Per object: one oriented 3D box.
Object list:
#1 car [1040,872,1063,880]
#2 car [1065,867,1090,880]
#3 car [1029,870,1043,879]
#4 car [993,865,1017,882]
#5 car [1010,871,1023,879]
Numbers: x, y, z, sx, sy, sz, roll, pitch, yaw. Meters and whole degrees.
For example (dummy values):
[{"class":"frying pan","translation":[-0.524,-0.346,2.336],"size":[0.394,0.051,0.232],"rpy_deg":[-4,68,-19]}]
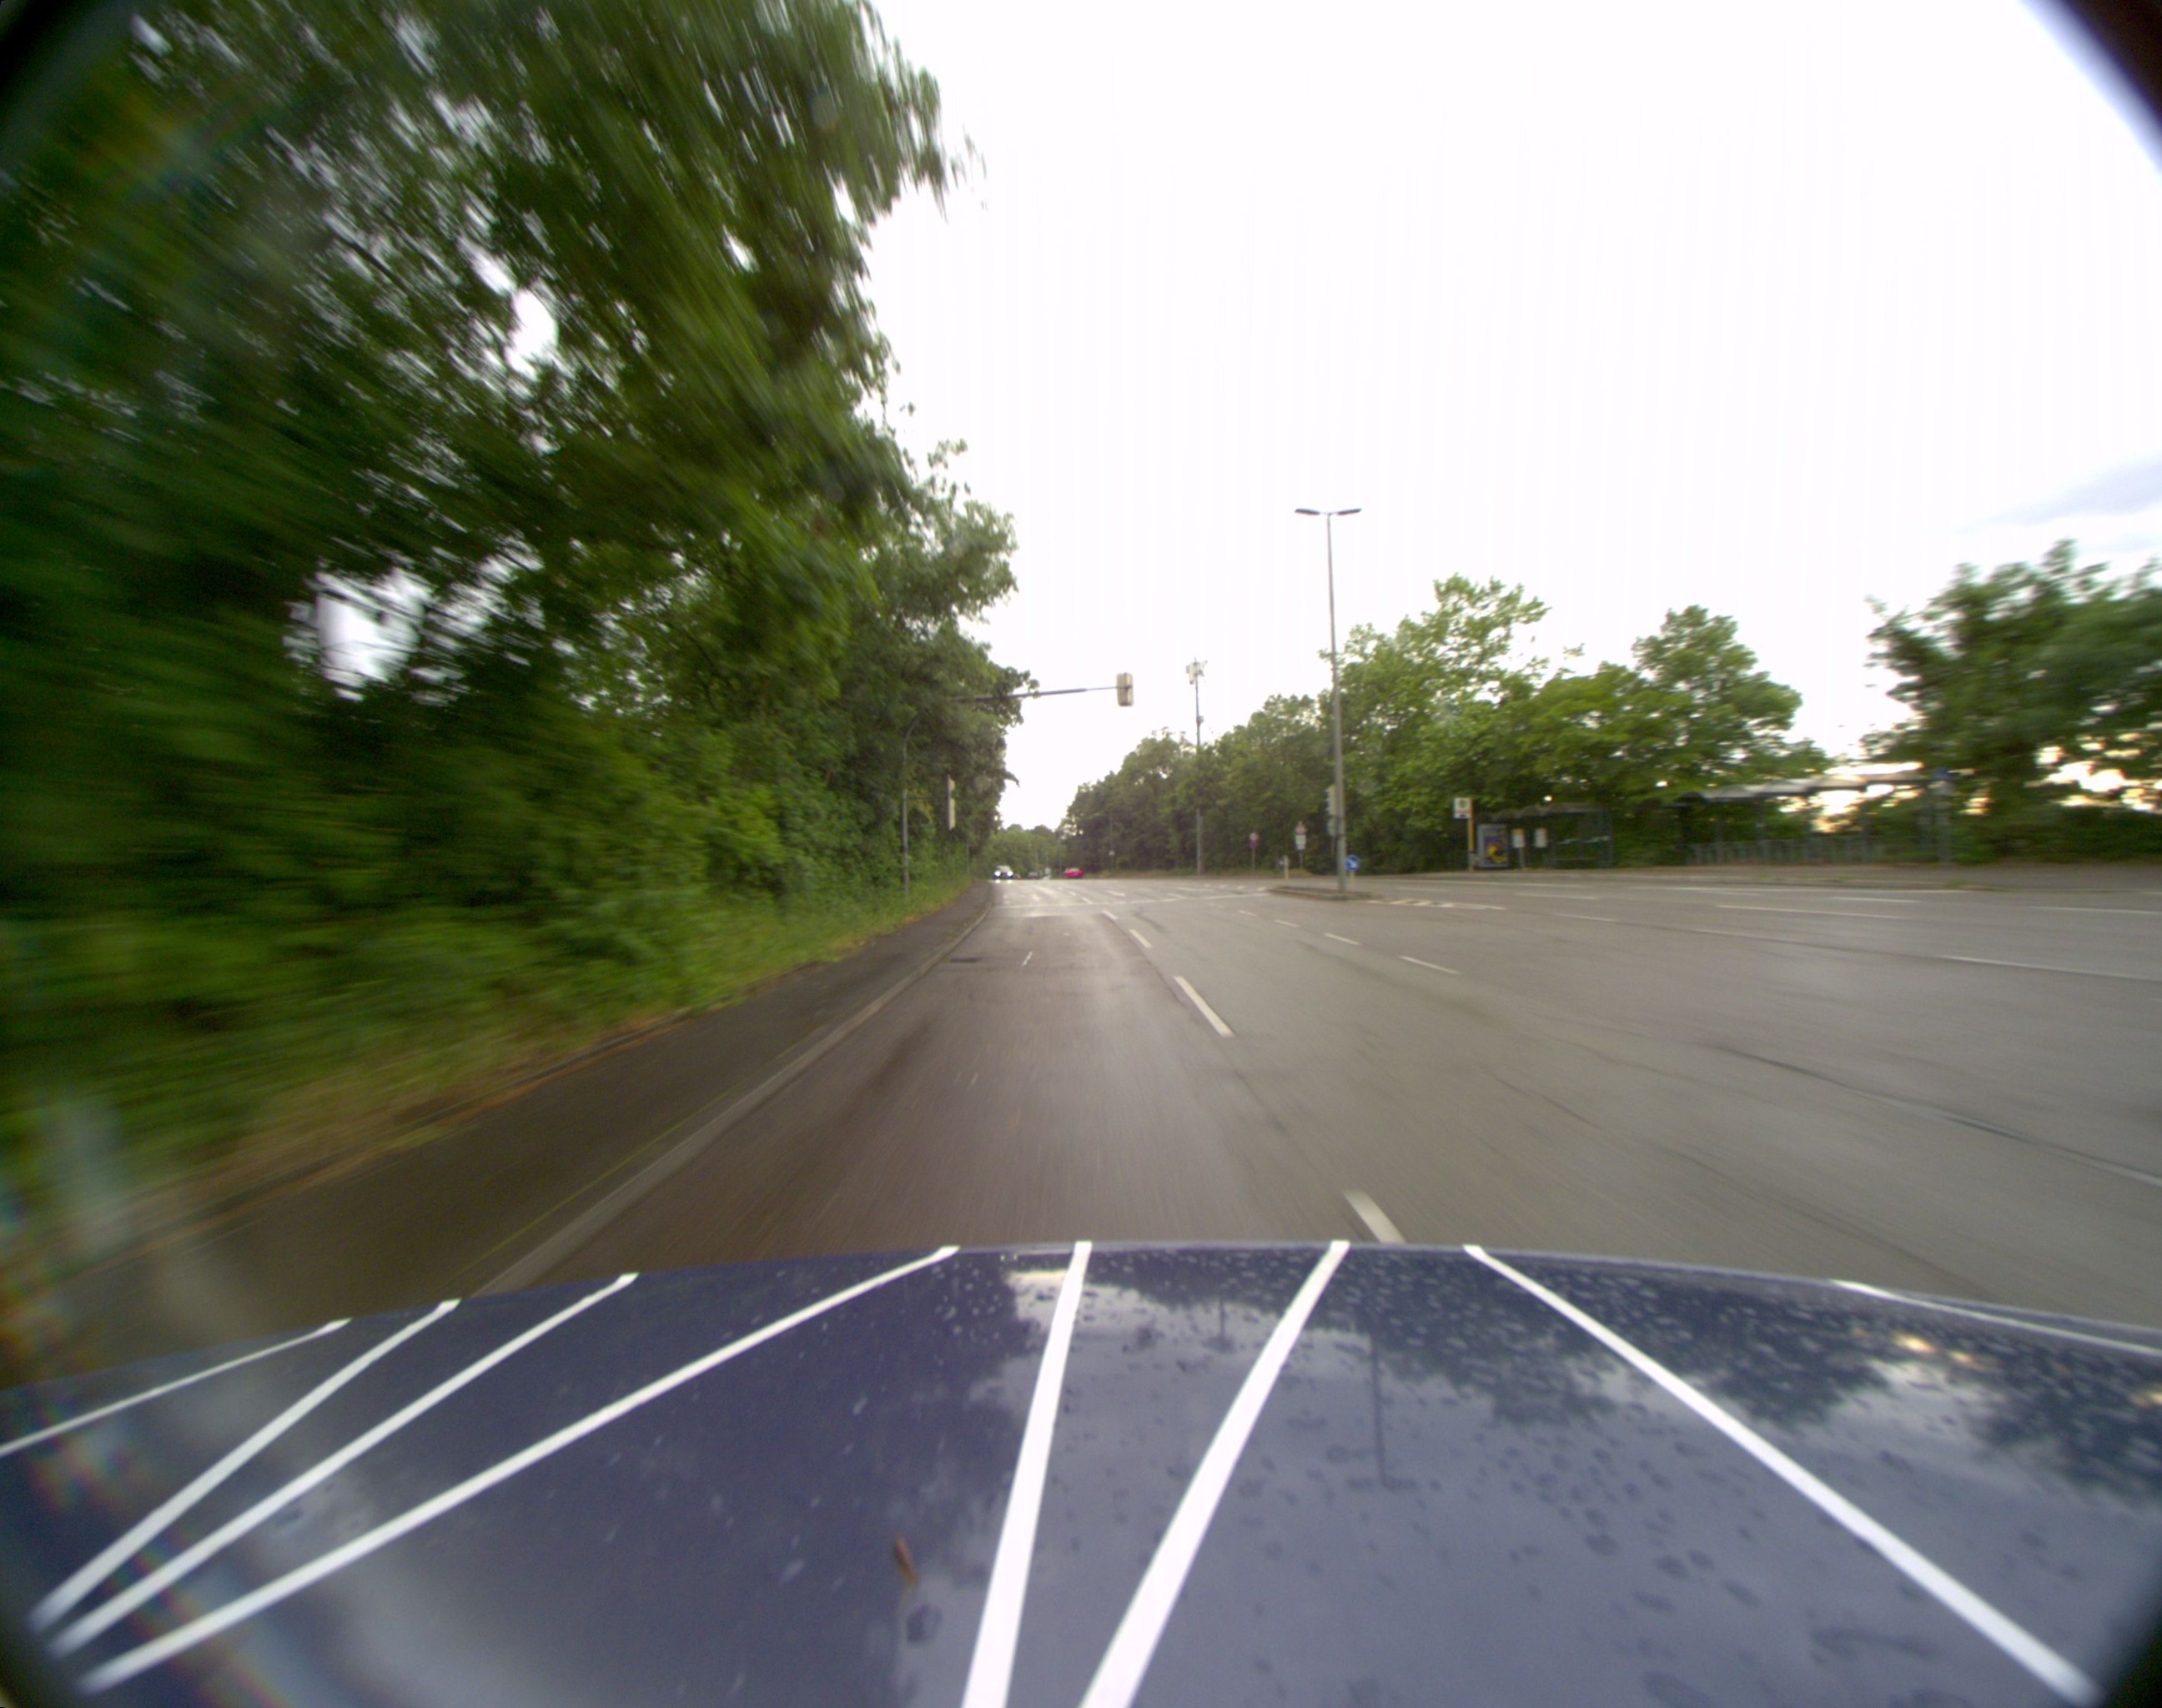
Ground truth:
[{"class":"car","translation":[-6.290,4.715,161.790],"size":[4.755,1.706,1.894],"rpy_deg":[-1,-1,-3]},{"class":"car","translation":[-0.423,2.253,88.010],"size":[1.882,1.366,4.380],"rpy_deg":[-1,-1,-13]},{"class":"car","translation":[-7.345,3.374,122.848],"size":[1.637,1.386,3.996],"rpy_deg":[-1,-1,-13]},{"class":"car","translation":[-7.444,1.910,74.858],"size":[1.999,1.576,4.000],"rpy_deg":[1,-2,-2]},{"class":"car","translation":[-11.618,3.757,136.995],"size":[1.707,1.418,4.074],"rpy_deg":[0,-2,-14]}]
